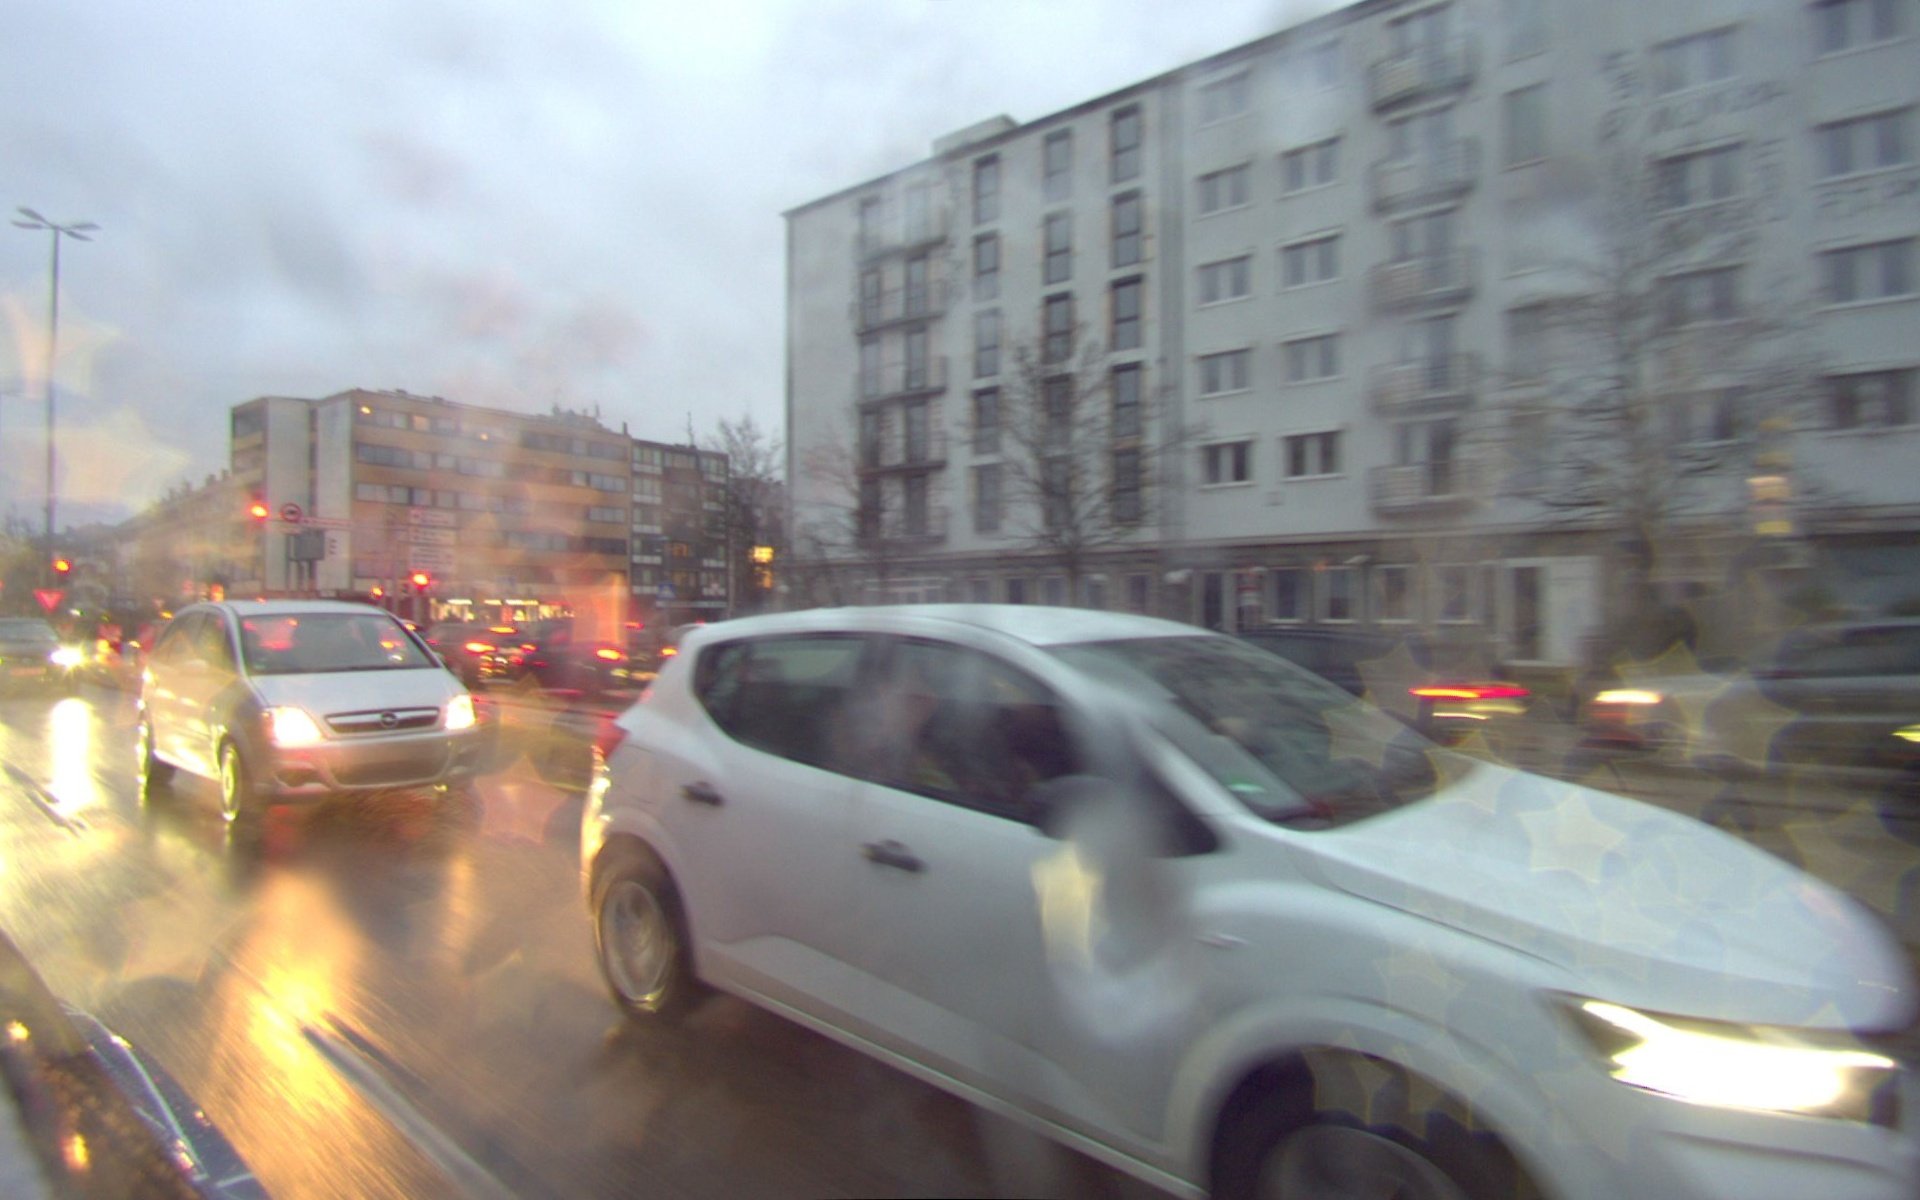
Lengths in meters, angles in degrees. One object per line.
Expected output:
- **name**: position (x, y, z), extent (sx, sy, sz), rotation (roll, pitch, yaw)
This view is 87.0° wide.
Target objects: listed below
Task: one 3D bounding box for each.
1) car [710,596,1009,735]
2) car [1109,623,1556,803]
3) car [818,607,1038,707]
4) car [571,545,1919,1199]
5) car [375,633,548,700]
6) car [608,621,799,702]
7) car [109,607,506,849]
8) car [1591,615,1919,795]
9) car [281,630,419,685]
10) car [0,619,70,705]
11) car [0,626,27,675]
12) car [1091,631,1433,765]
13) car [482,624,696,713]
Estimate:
- **car**: position (-1.639, 0.930, 15.385), extent (4.531, 1.796, 1.942), rotation (-2, -3, 41)
- **car**: position (3.658, 1.017, 10.429), extent (4.000, 1.498, 1.627), rotation (-2, -3, 43)
- **car**: position (-0.638, 0.949, 18.060), extent (3.802, 1.593, 1.770), rotation (-1, -2, 42)
- **car**: position (0.534, 0.736, 3.113), extent (3.999, 1.498, 1.609), rotation (-2, -3, 42)
- **car**: position (-11.579, 1.471, 23.384), extent (4.530, 1.397, 1.942), rotation (-2, -3, 40)
- **car**: position (-5.853, 1.327, 22.838), extent (4.530, 1.652, 1.942), rotation (-2, -3, 40)
- **car**: position (-5.590, 0.866, 8.472), extent (4.105, 1.560, 1.629), rotation (-1, -1, 39)
- **car**: position (8.746, 0.952, 9.738), extent (4.281, 1.579, 1.627), rotation (-2, -3, 43)
- **car**: position (-16.876, 1.531, 27.919), extent (4.530, 1.397, 1.942), rotation (-2, -3, 40)
- **car**: position (-18.665, 1.157, 19.740), extent (1.728, 1.556, 4.003), rotation (2, -3, -44)
- **car**: position (-35.479, 1.811, 36.047), extent (1.789, 1.756, 4.199), rotation (1, -2, -20)
- **car**: position (3.827, 1.163, 13.287), extent (4.000, 1.498, 1.627), rotation (-2, -3, 43)
- **car**: position (-7.305, 1.267, 19.707), extent (4.530, 1.526, 1.942), rotation (-2, -3, 40)
